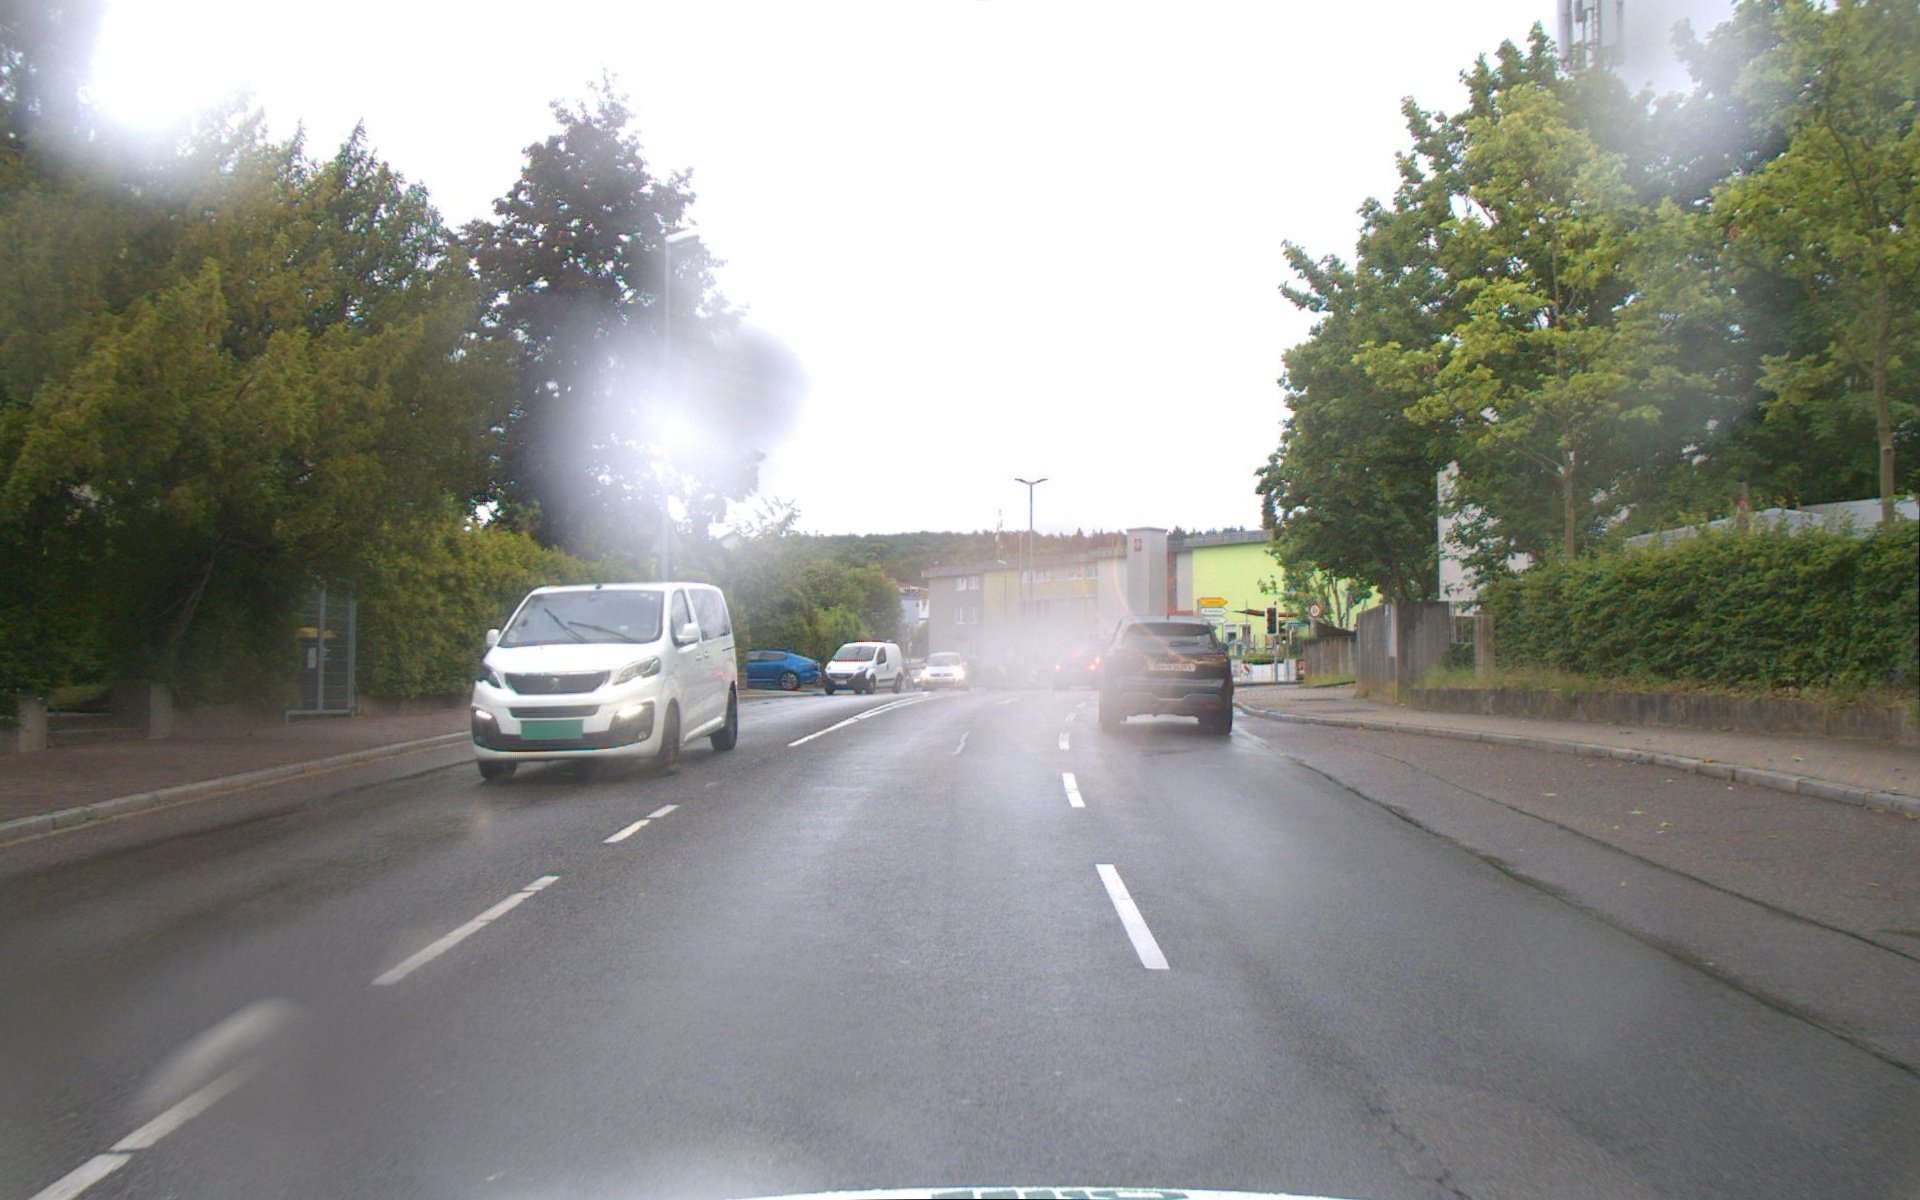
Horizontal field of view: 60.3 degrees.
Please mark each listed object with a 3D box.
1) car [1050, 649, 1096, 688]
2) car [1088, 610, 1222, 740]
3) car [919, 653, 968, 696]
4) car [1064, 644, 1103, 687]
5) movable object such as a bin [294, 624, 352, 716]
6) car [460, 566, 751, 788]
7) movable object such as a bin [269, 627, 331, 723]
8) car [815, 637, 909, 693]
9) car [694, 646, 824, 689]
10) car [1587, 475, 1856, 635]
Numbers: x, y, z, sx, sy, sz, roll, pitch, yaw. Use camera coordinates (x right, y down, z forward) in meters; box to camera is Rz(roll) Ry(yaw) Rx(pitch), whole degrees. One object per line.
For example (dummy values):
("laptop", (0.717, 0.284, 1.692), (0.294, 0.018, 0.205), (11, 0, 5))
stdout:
("car", (4.584, 2.815, 67.663), (1.648, 1.533, 3.773), (1, -3, 0))
("car", (2.814, 1.007, 24.107), (1.752, 1.631, 4.256), (1, 0, 6))
("car", (-0.651, 3.004, 67.393), (1.600, 1.607, 4.058), (-4, -2, 4))
("car", (5.694, 2.979, 76.015), (1.680, 1.877, 4.089), (1, -1, 5))
("movable object such as a bin", (-9.655, 1.049, 25.078), (0.536, 1.349, 0.806), (1, -1, 1))
("car", (-3.555, 0.721, 17.604), (1.825, 1.950, 5.030), (-2, 0, 2))
("movable object such as a bin", (-9.480, 1.068, 23.783), (0.536, 1.349, 0.806), (1, -1, 1))
("car", (-3.264, 2.220, 56.029), (1.665, 1.738, 3.978), (2, -2, 20))
("car", (-7.148, 2.413, 59.091), (4.391, 1.386, 1.805), (1, -1, 0))
("car", (11.682, -0.693, 25.729), (1.955, 2.265, 4.129), (1, 1, -6))
